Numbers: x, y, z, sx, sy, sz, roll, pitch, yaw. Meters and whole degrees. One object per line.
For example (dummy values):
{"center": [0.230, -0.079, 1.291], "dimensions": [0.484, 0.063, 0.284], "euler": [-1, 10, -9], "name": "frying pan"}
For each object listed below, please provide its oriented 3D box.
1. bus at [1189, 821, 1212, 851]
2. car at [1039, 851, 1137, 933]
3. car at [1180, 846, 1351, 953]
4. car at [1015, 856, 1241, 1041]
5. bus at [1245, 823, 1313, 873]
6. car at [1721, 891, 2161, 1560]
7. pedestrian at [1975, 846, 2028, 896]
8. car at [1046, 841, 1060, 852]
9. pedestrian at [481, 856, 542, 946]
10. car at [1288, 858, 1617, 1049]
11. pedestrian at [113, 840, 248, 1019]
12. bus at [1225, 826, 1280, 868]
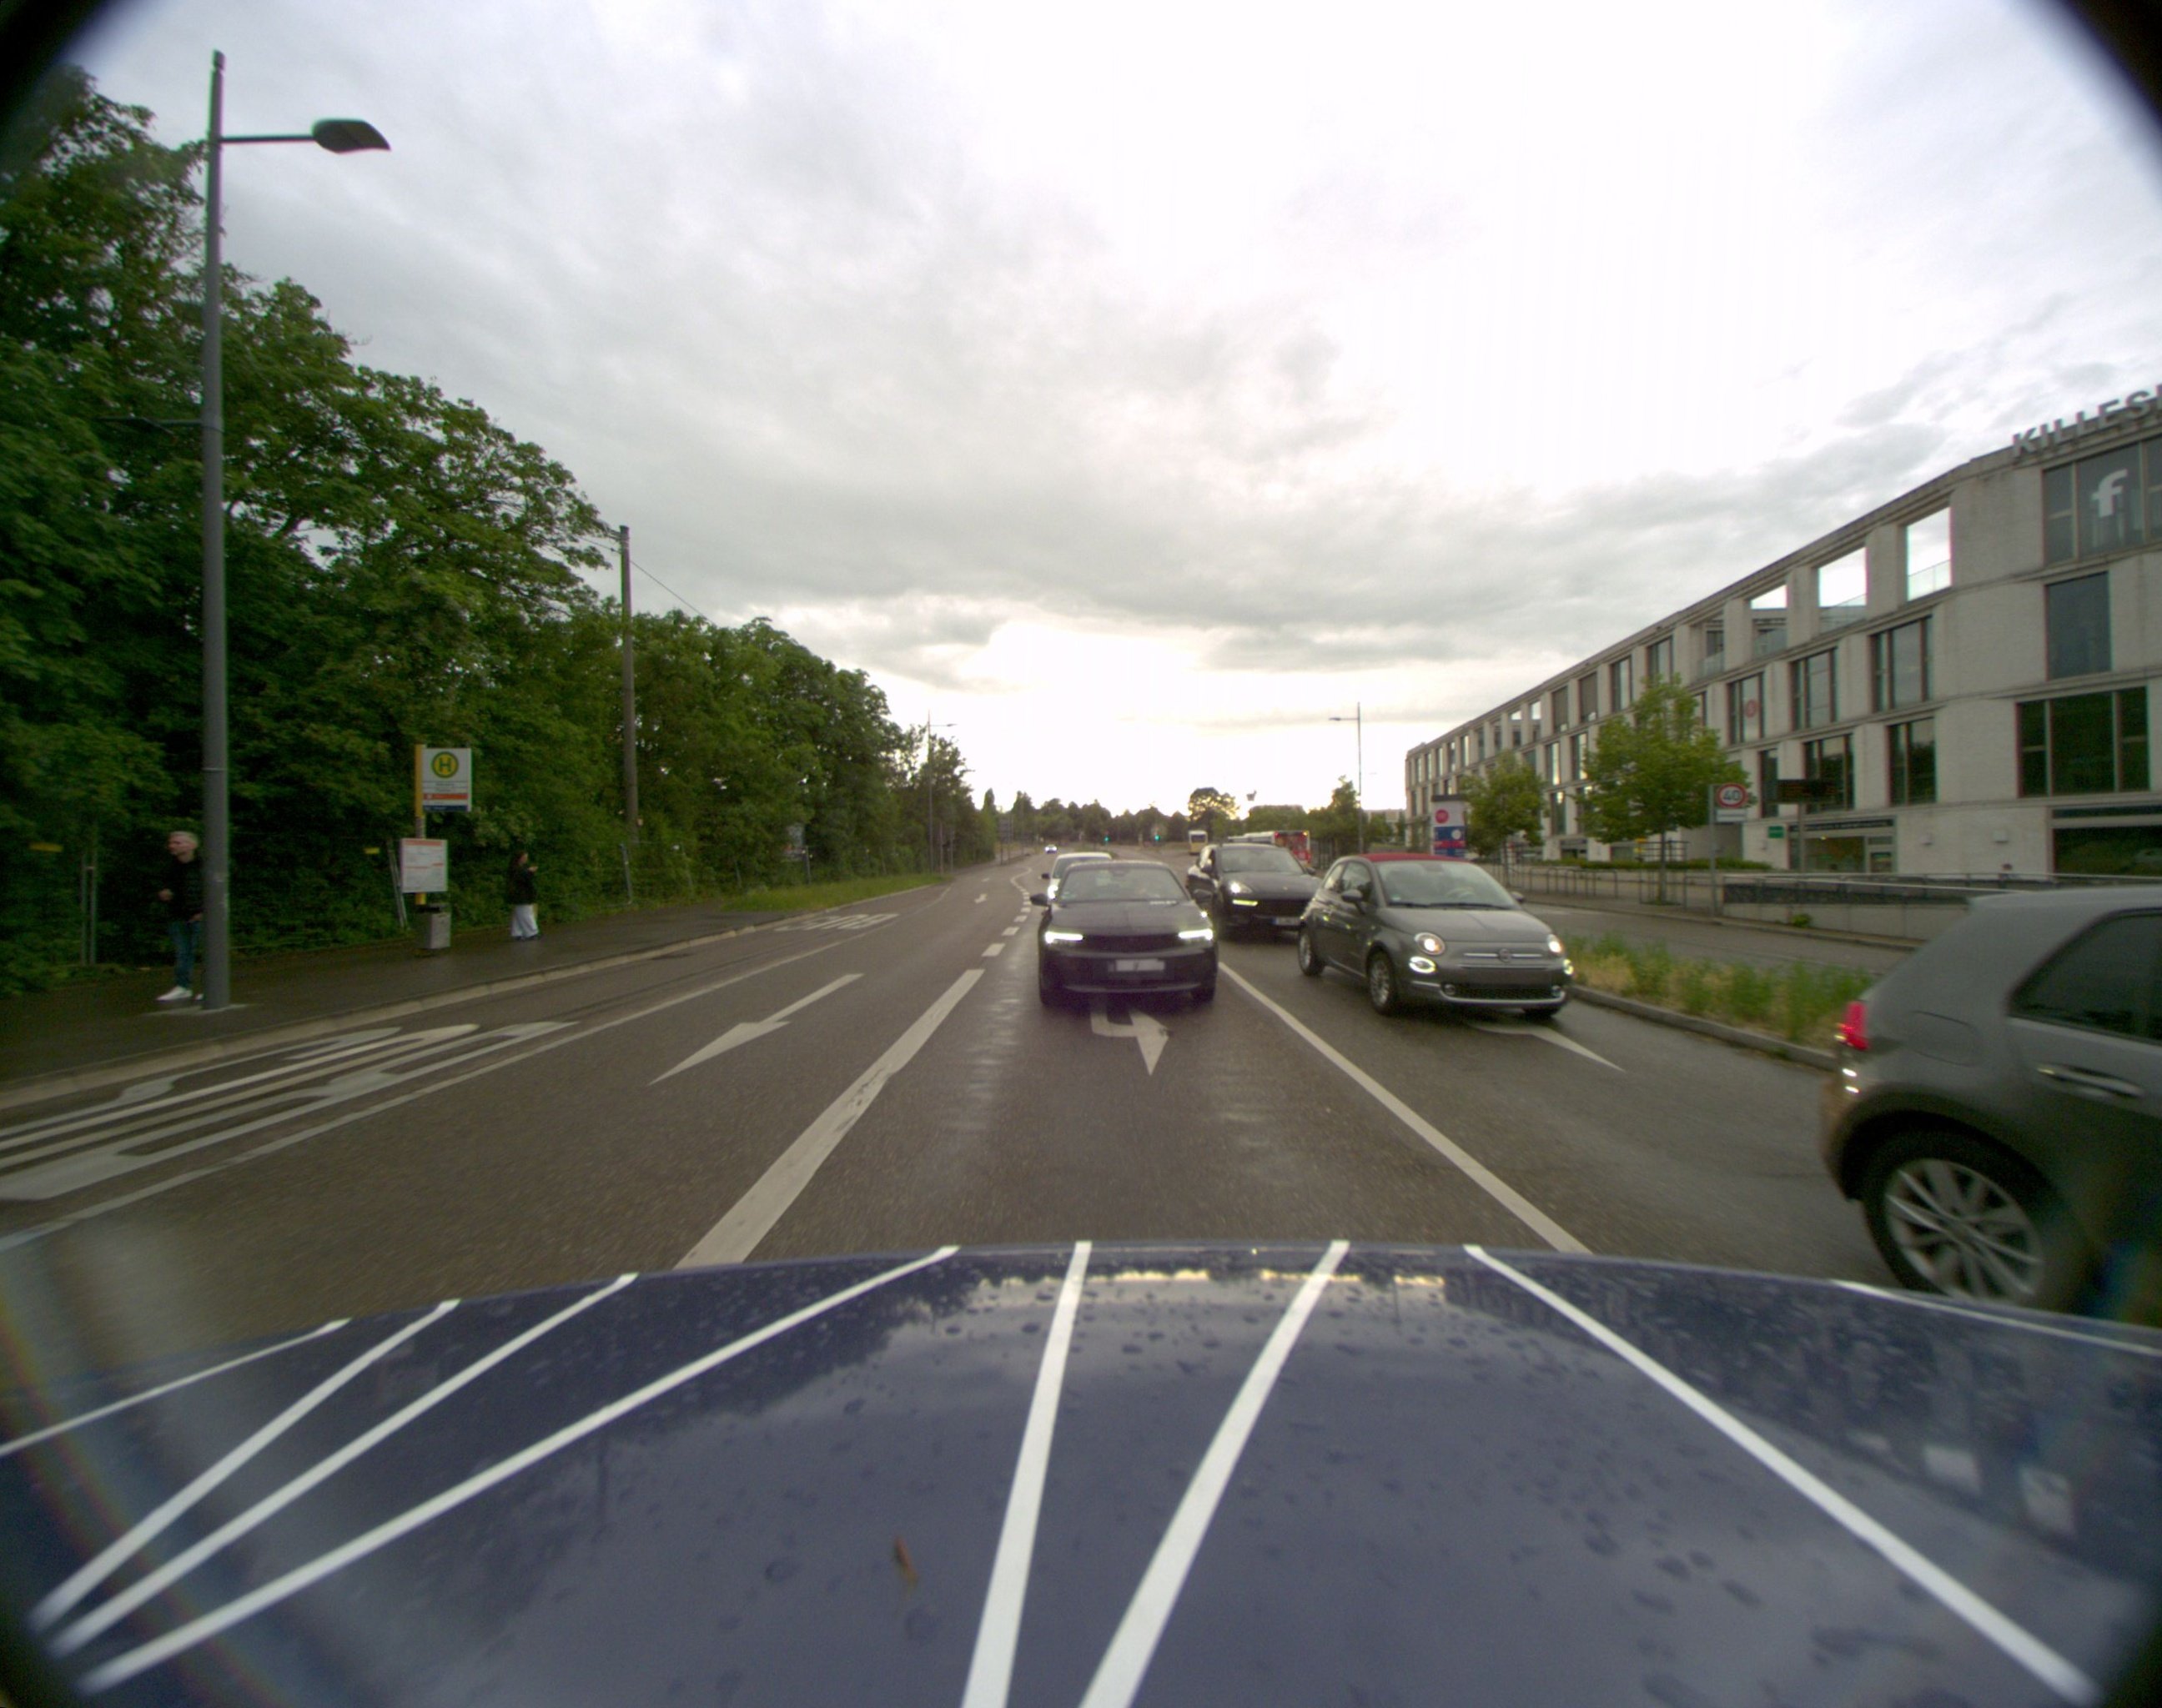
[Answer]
{"center": [18.794, -2.766, 118.234], "dimensions": [2.757, 4.130, 19.359], "euler": [-2, 1, 11], "name": "bus"}
{"center": [0.199, 0.745, 17.531], "dimensions": [1.901, 1.524, 4.767], "euler": [-2, 1, 1], "name": "car"}
{"center": [3.177, 0.679, 14.132], "dimensions": [1.934, 1.649, 4.616], "euler": [-1, 1, -2], "name": "car"}
{"center": [0.441, 0.818, 8.909], "dimensions": [1.901, 1.456, 4.767], "euler": [-2, 1, 1], "name": "car"}
{"center": [14.007, -0.459, 54.668], "dimensions": [2.759, 3.194, 9.207], "euler": [-2, 1, 2], "name": "bus"}
{"center": [3.413, 0.914, 0.806], "dimensions": [1.820, 1.473, 4.376], "euler": [-1, 1, 1], "name": "car"}
{"center": [30.477, 0.551, 25.162], "dimensions": [0.765, 1.596, 0.913], "euler": [-1, 1, -22], "name": "pedestrian"}
{"center": [-5.323, -1.411, 143.178], "dimensions": [2.000, 1.805, 3.996], "euler": [-2, 1, -10], "name": "car"}
{"center": [-10.521, 0.851, 14.065], "dimensions": [0.588, 1.619, 0.661], "euler": [-1, 1, 1], "name": "pedestrian"}
{"center": [3.480, 0.809, 7.891], "dimensions": [1.631, 1.473, 3.505], "euler": [-1, 1, -2], "name": "car"}
{"center": [-10.130, 0.822, 8.571], "dimensions": [0.742, 1.938, 0.597], "euler": [-1, 1, 1], "name": "pedestrian"}
{"center": [14.321, -0.630, 64.172], "dimensions": [2.693, 3.163, 9.912], "euler": [-2, 1, 2], "name": "bus"}
